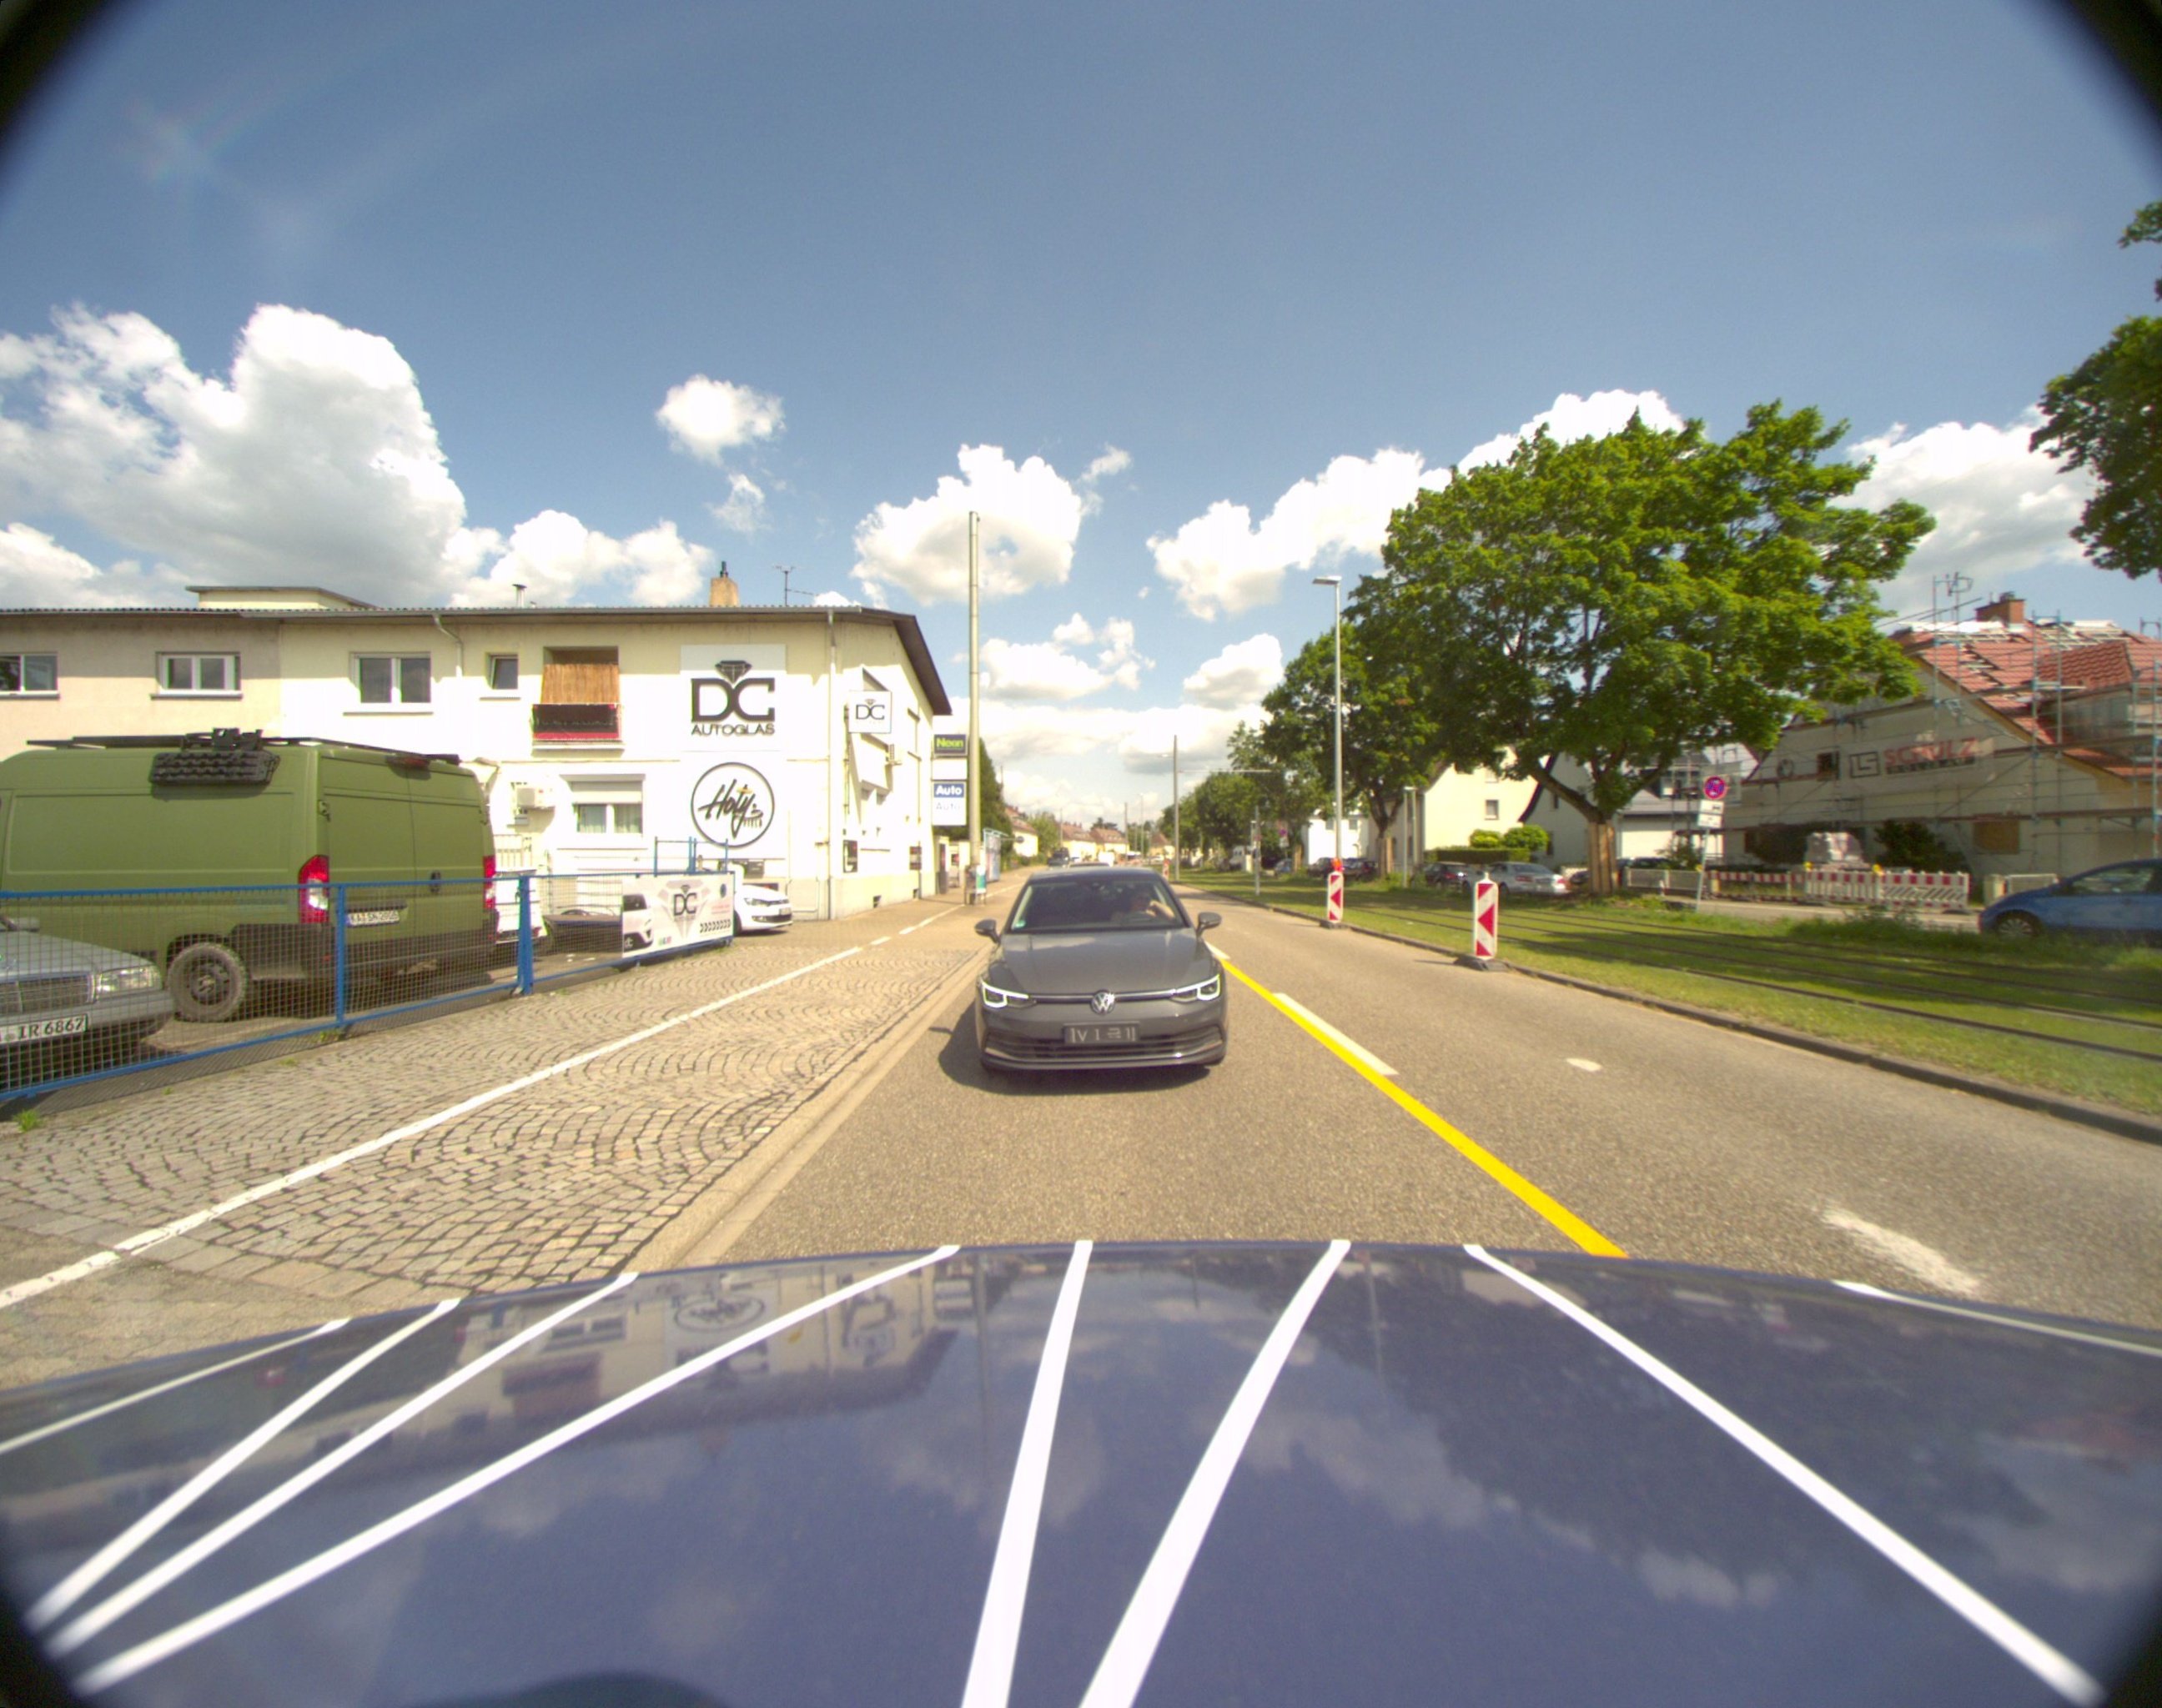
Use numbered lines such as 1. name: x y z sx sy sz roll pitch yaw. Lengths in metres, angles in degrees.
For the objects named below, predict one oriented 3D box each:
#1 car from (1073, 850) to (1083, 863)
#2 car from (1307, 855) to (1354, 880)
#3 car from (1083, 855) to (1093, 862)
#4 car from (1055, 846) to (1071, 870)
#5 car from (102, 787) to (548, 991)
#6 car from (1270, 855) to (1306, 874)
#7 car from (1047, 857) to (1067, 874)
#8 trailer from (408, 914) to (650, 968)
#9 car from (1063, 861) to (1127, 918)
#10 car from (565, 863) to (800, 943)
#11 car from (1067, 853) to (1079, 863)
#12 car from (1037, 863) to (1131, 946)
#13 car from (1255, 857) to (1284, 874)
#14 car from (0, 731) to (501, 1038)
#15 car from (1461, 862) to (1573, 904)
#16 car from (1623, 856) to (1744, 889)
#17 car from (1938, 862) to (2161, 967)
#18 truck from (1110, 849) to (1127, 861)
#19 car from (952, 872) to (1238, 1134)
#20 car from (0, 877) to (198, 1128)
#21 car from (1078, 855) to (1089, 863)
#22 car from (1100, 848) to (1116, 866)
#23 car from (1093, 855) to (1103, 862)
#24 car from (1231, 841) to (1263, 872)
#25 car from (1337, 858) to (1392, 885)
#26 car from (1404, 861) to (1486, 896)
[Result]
1. car: -0.483 0.424 136.411 1.701 2.233 4.947 0 0 2
2. car: 16.557 0.902 50.669 1.702 1.562 4.407 -1 -1 1
3. car: 1.448 0.910 155.846 1.701 1.574 4.002 0 0 7
4. car: -1.909 0.452 82.447 1.702 2.510 5.144 0 0 0
5. car: -9.497 0.420 9.761 4.207 2.392 1.586 0 0 2
6. car: 16.647 0.878 61.290 1.702 1.477 4.407 -1 -1 1
7. car: -2.182 1.049 70.762 1.702 1.574 4.000 0 0 1
8. trailer: -8.364 1.307 11.668 2.733 0.662 1.329 0 0 -1
9. car: 0.391 0.975 22.225 1.702 1.477 4.000 0 0 1
10. car: -7.658 0.916 14.826 3.775 1.454 1.555 0 0 2
11. car: -1.310 0.676 123.048 1.701 1.574 4.001 0 0 3
12. car: 0.083 0.942 15.854 1.702 1.477 4.000 0 0 1
13. car: 17.650 1.081 71.335 1.702 1.477 4.407 -1 -1 1
14. car: -8.722 0.271 7.618 4.207 2.627 2.113 0 0 2
15. car: 16.448 1.068 28.963 1.788 1.477 4.523 -1 -1 2
16. car: 28.909 0.893 36.519 4.402 1.477 1.704 -1 -1 1
17. car: 16.206 0.868 11.407 1.702 1.477 4.407 -1 -1 1
18. truck: 9.918 0.149 201.059 2.710 3.119 8.124 0 0 15
19. car: 0.111 0.937 6.534 1.702 1.477 4.000 0 0 1
20. car: -8.455 0.889 4.782 4.282 1.444 1.713 0 0 8
21. car: 0.490 0.907 146.715 1.701 1.574 4.002 0 0 6
22. car: 3.733 0.411 105.133 2.090 2.449 5.842 2 0 2
23. car: 3.852 0.917 173.605 1.700 1.574 4.004 0 0 12
24. car: 16.821 0.277 77.280 2.136 3.019 5.084 -1 -1 1
25. car: 16.774 1.038 45.163 1.702 1.477 4.407 -1 -1 1
26. car: 16.629 1.123 34.945 1.702 1.477 4.407 -1 -1 1
